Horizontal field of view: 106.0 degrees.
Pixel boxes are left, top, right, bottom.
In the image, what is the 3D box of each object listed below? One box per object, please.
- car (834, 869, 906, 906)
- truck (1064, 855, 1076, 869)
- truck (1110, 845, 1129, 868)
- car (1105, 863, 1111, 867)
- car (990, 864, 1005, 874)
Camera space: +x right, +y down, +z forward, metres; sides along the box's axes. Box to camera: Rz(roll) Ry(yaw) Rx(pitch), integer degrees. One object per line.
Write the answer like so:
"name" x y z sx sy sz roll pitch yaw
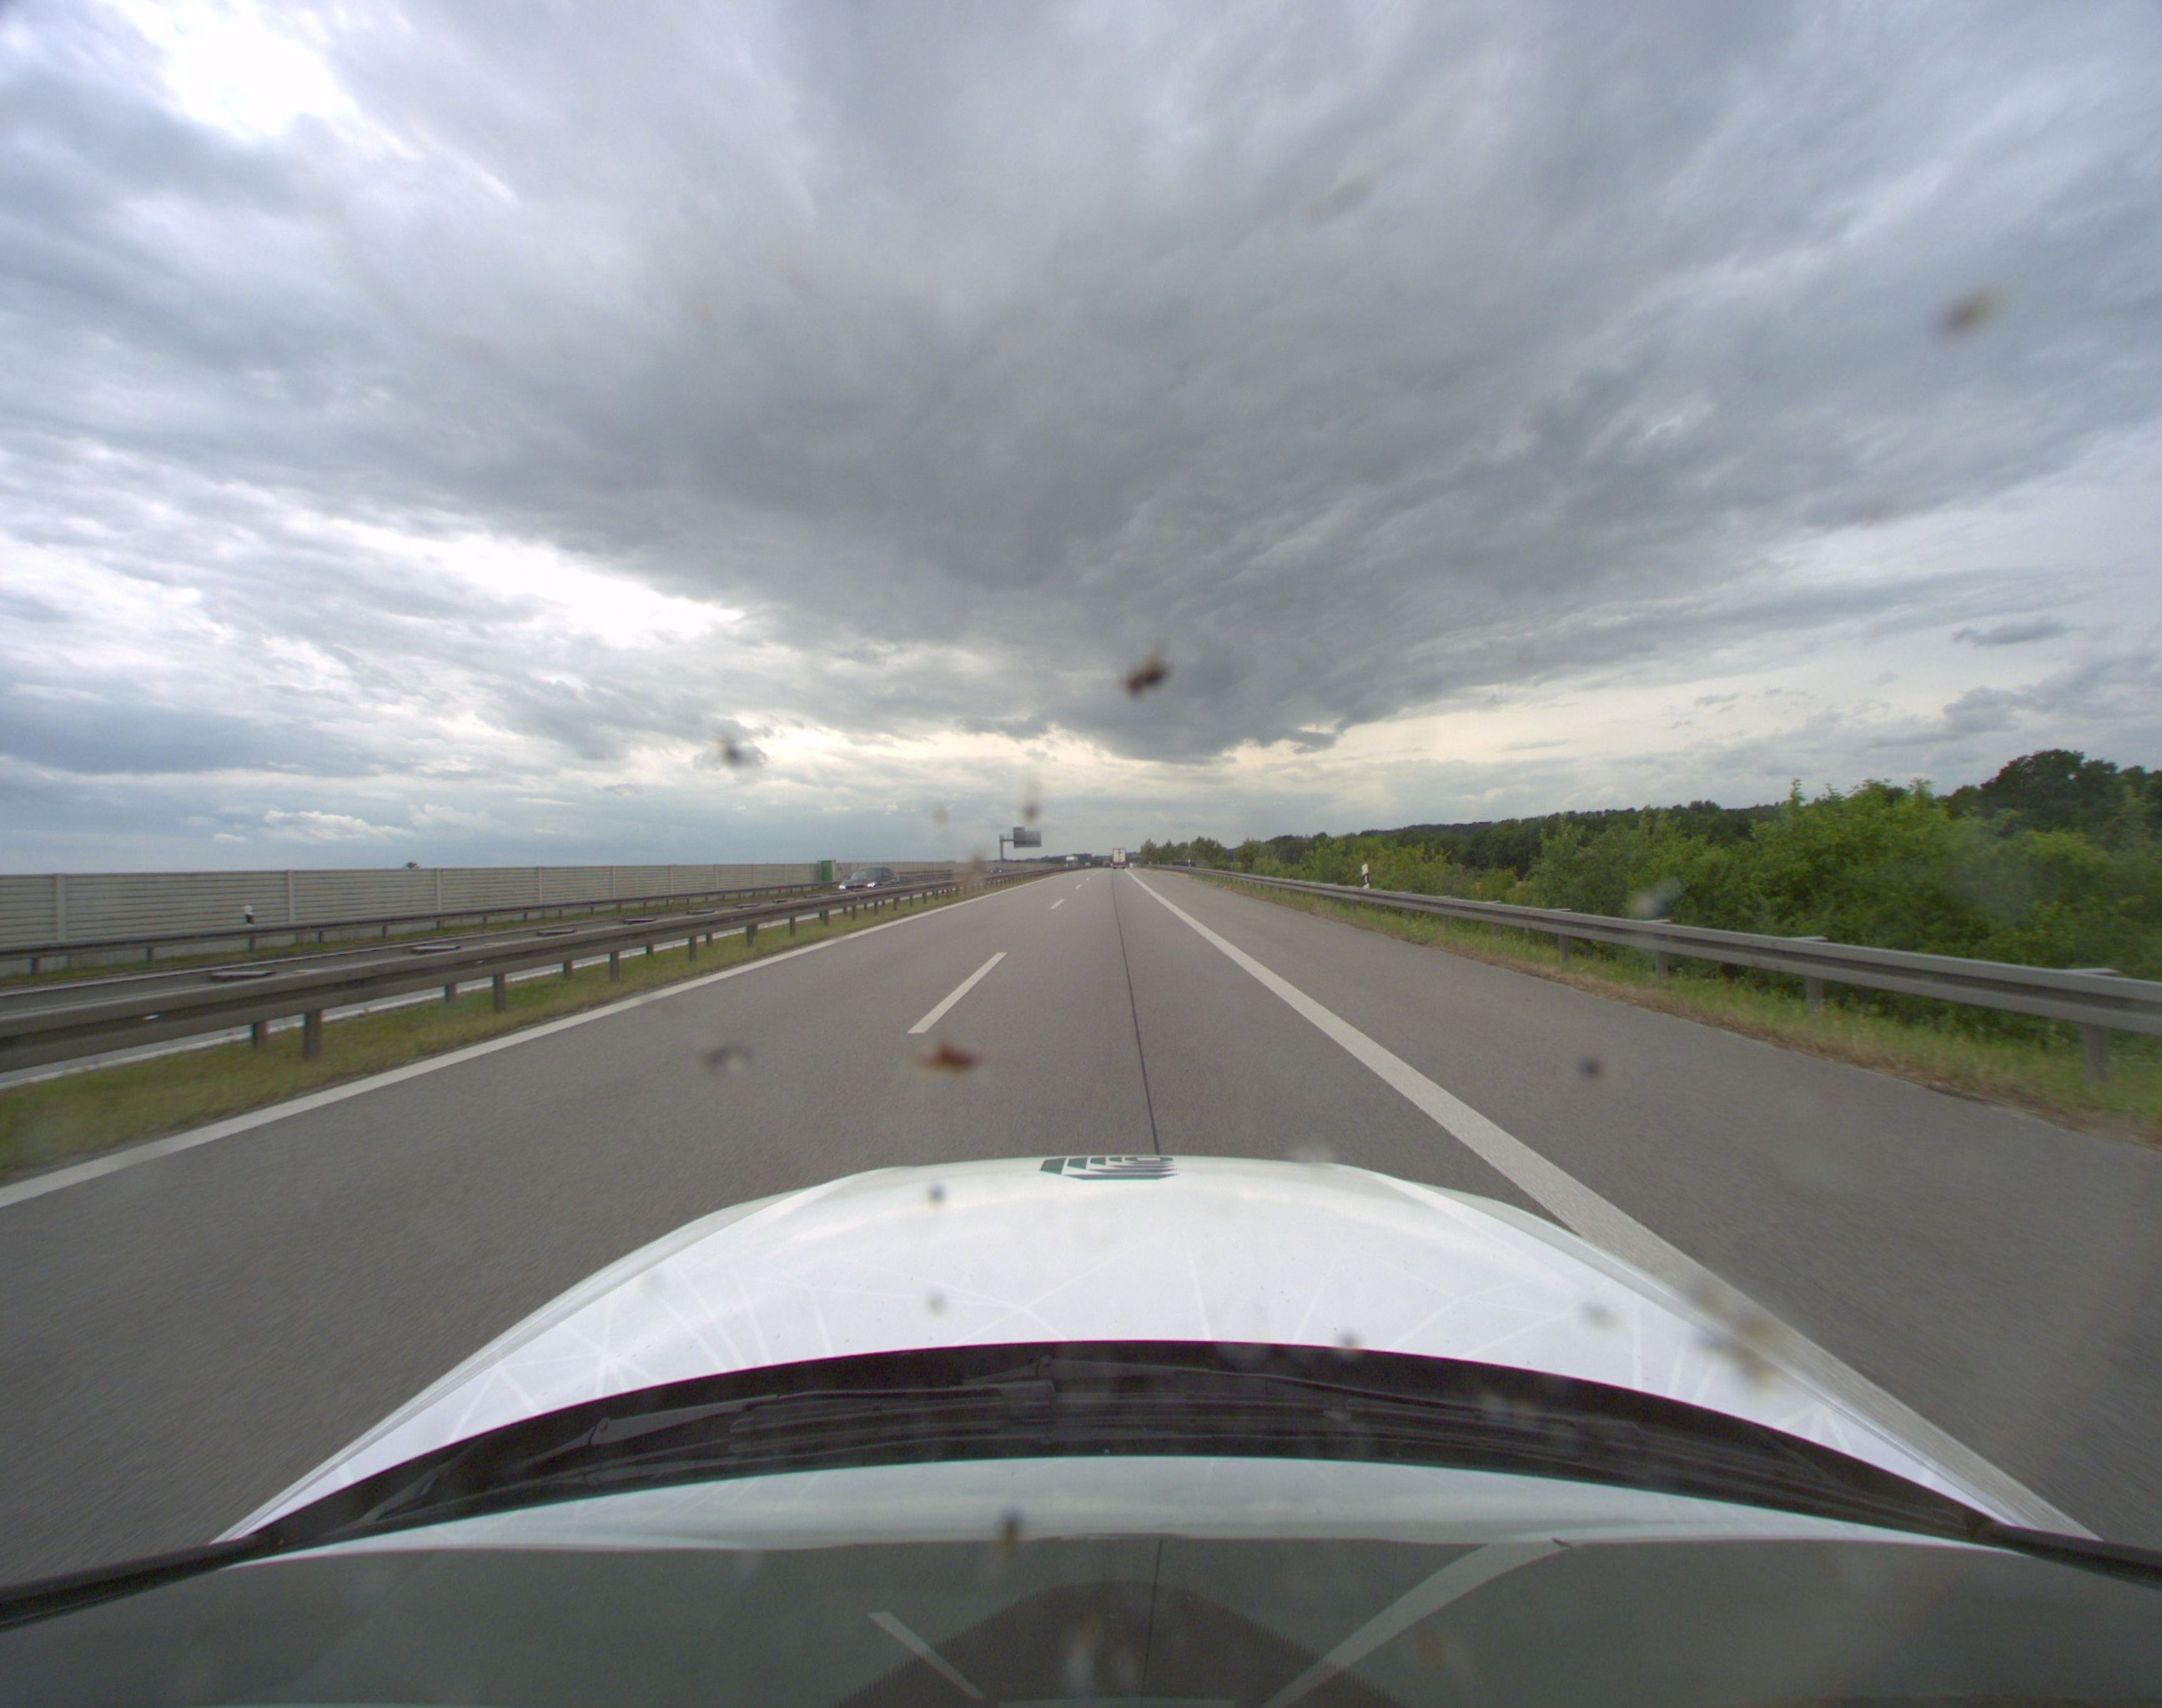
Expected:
"car" -9.511 1.484 37.186 1.781 1.451 5.175 -1 0 2
"truck" -3.272 2.372 251.791 3.097 4.014 7.328 -4 -1 2
"truck" 8.089 0.709 169.114 3.657 4.412 16.351 -2 -1 3
"car" 8.292 3.360 250.268 1.987 1.420 3.999 -1 0 0
"car" -13.050 2.366 127.240 1.697 1.495 4.568 -3 -1 2
